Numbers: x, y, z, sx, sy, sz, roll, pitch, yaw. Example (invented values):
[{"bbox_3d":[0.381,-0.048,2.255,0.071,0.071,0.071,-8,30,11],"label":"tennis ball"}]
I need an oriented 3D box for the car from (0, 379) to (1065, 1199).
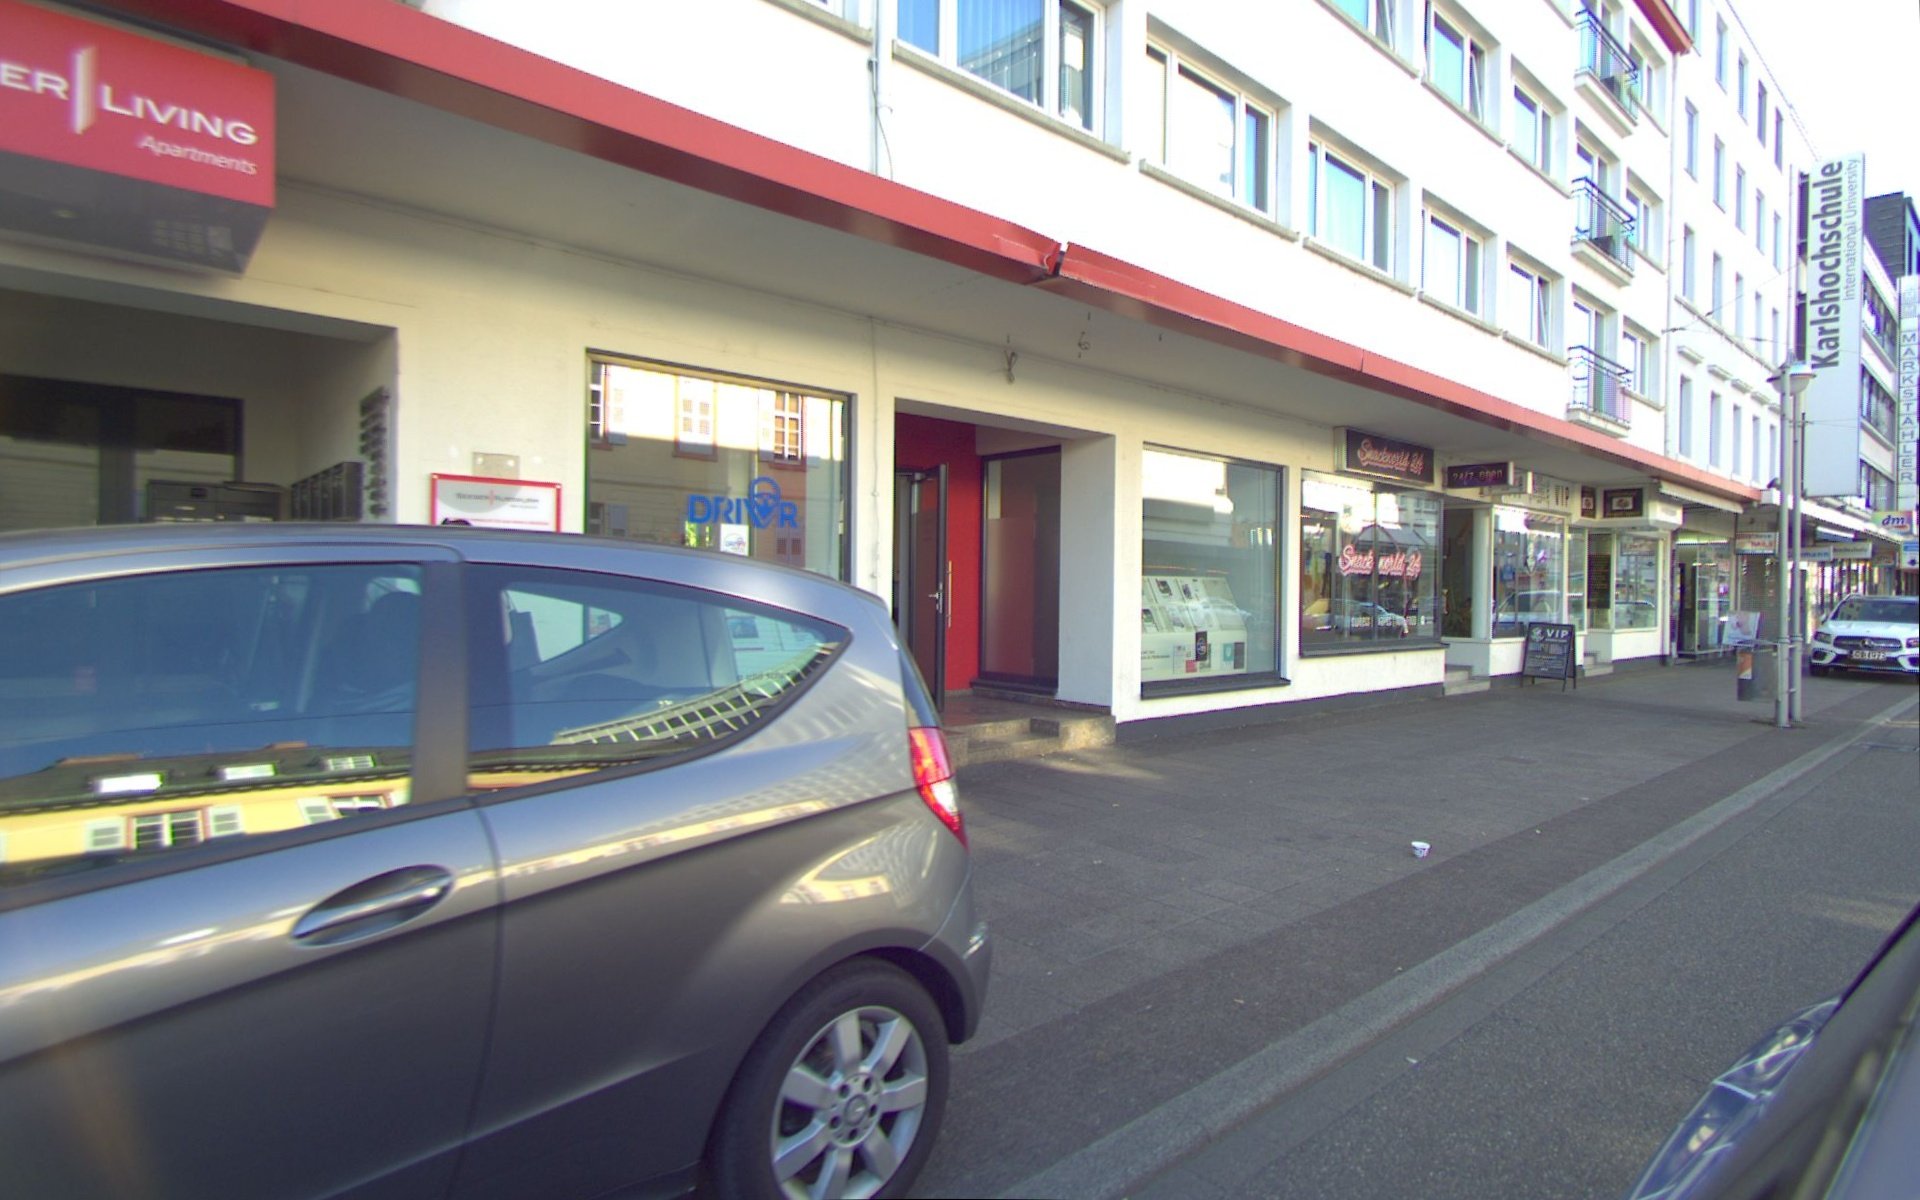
[{"bbox_3d":[-1.671,0.519,2.023,3.585,1.652,1.748,0,2,-41],"label":"car"}]

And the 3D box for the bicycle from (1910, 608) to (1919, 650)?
[{"bbox_3d":[25.981,0.800,26.817,0.314,1.093,1.133,0,3,-42],"label":"bicycle"}]

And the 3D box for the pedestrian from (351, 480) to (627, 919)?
[{"bbox_3d":[-2.199,0.396,4.755,0.802,1.796,0.920,1,1,38],"label":"pedestrian"}]

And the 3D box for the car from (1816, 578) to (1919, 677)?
[{"bbox_3d":[18.901,0.472,20.372,5.104,1.745,1.853,-1,3,-42],"label":"car"}]
